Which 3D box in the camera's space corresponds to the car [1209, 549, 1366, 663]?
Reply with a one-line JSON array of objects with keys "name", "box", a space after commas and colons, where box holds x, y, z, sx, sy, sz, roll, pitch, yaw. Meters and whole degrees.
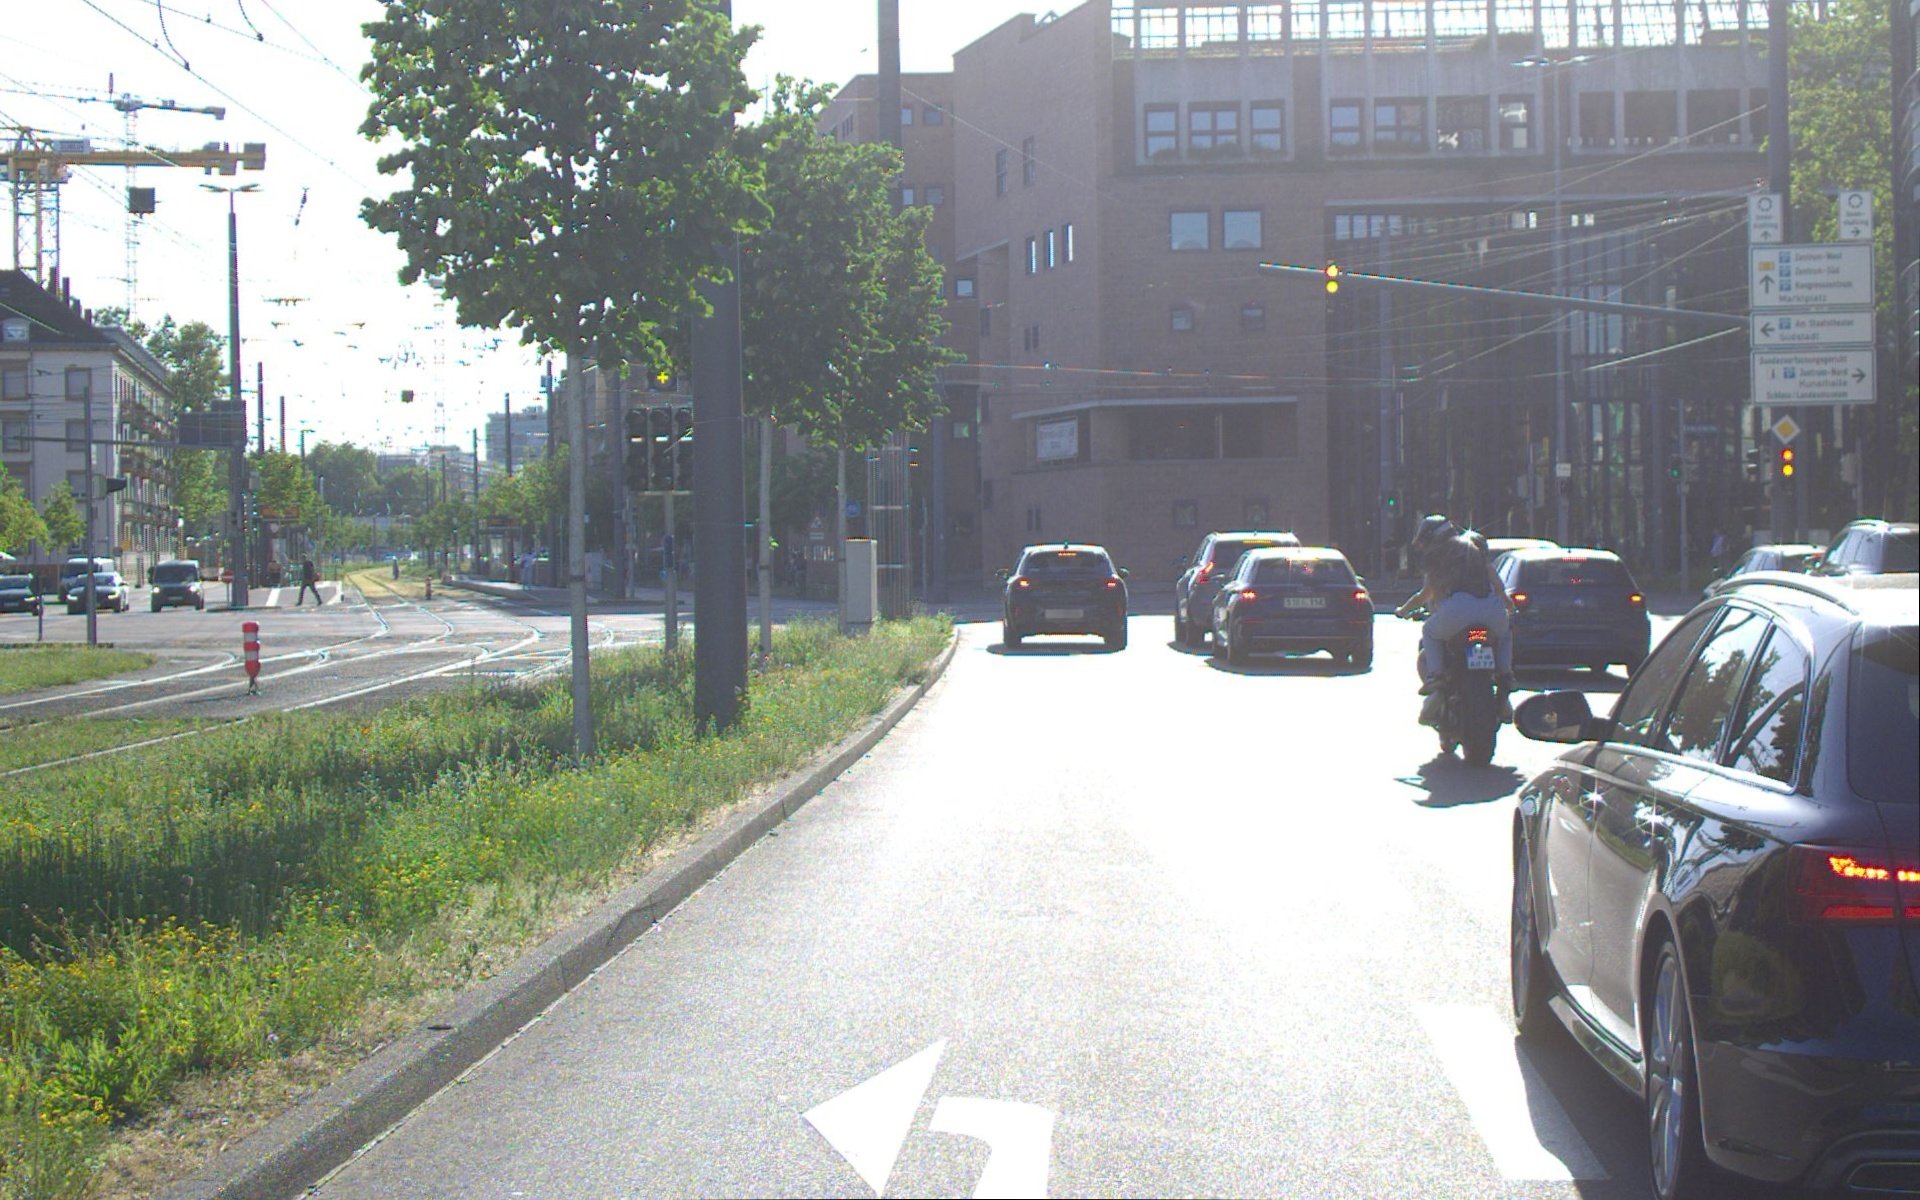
[{"name": "car", "box": [4.041, 0.045, 42.941, 1.737, 1.345, 4.000, -1, 1, 2]}]

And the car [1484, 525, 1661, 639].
[{"name": "car", "box": [8.161, -0.267, 46.100, 1.807, 1.452, 4.000, 0, 1, 2]}]

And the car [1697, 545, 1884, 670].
[{"name": "car", "box": [11.565, 0.074, 48.086, 1.994, 1.645, 3.999, -1, 1, 6]}]

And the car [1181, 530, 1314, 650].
[{"name": "car", "box": [4.134, -0.172, 49.852, 1.737, 1.645, 4.000, -1, 1, 2]}]

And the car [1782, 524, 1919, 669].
[{"name": "car", "box": [11.980, -0.087, 43.781, 1.993, 1.744, 4.329, -1, 1, 1]}]

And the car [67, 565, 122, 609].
[{"name": "car", "box": [-30.910, -0.481, 122.730, 1.744, 1.499, 3.882, -1, 1, -16]}]

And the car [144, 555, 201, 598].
[{"name": "car", "box": [-27.900, -0.842, 121.746, 1.744, 1.499, 3.882, -1, 1, -16]}]

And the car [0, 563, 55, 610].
[{"name": "car", "box": [-33.496, -0.489, 122.774, 1.993, 1.590, 4.740, -2, 1, -12]}]

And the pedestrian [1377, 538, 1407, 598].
[{"name": "pedestrian", "box": [12.612, -0.934, 100.403, 0.707, 1.753, 0.560, -1, 1, 27]}]

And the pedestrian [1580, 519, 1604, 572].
[{"name": "pedestrian", "box": [17.045, -1.467, 92.685, 0.529, 1.425, 0.598, -1, 1, 1]}]

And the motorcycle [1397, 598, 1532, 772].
[{"name": "motorcycle", "box": [3.468, 0.566, 23.782, 0.775, 1.111, 1.969, -1, 1, 4]}]

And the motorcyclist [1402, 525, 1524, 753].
[{"name": "motorcyclist", "box": [3.450, 0.255, 23.630, 0.745, 1.525, 1.020, -1, 1, 5]}]

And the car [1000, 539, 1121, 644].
[{"name": "car", "box": [1.470, -0.140, 49.290, 1.649, 1.428, 4.000, -1, 1, 2]}]

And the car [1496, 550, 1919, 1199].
[{"name": "car", "box": [2.463, 0.640, 8.513, 1.811, 1.487, 4.495, 1, 1, 4]}]

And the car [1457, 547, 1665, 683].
[{"name": "car", "box": [6.808, 0.128, 39.298, 1.807, 1.452, 4.000, 0, 1, 2]}]
